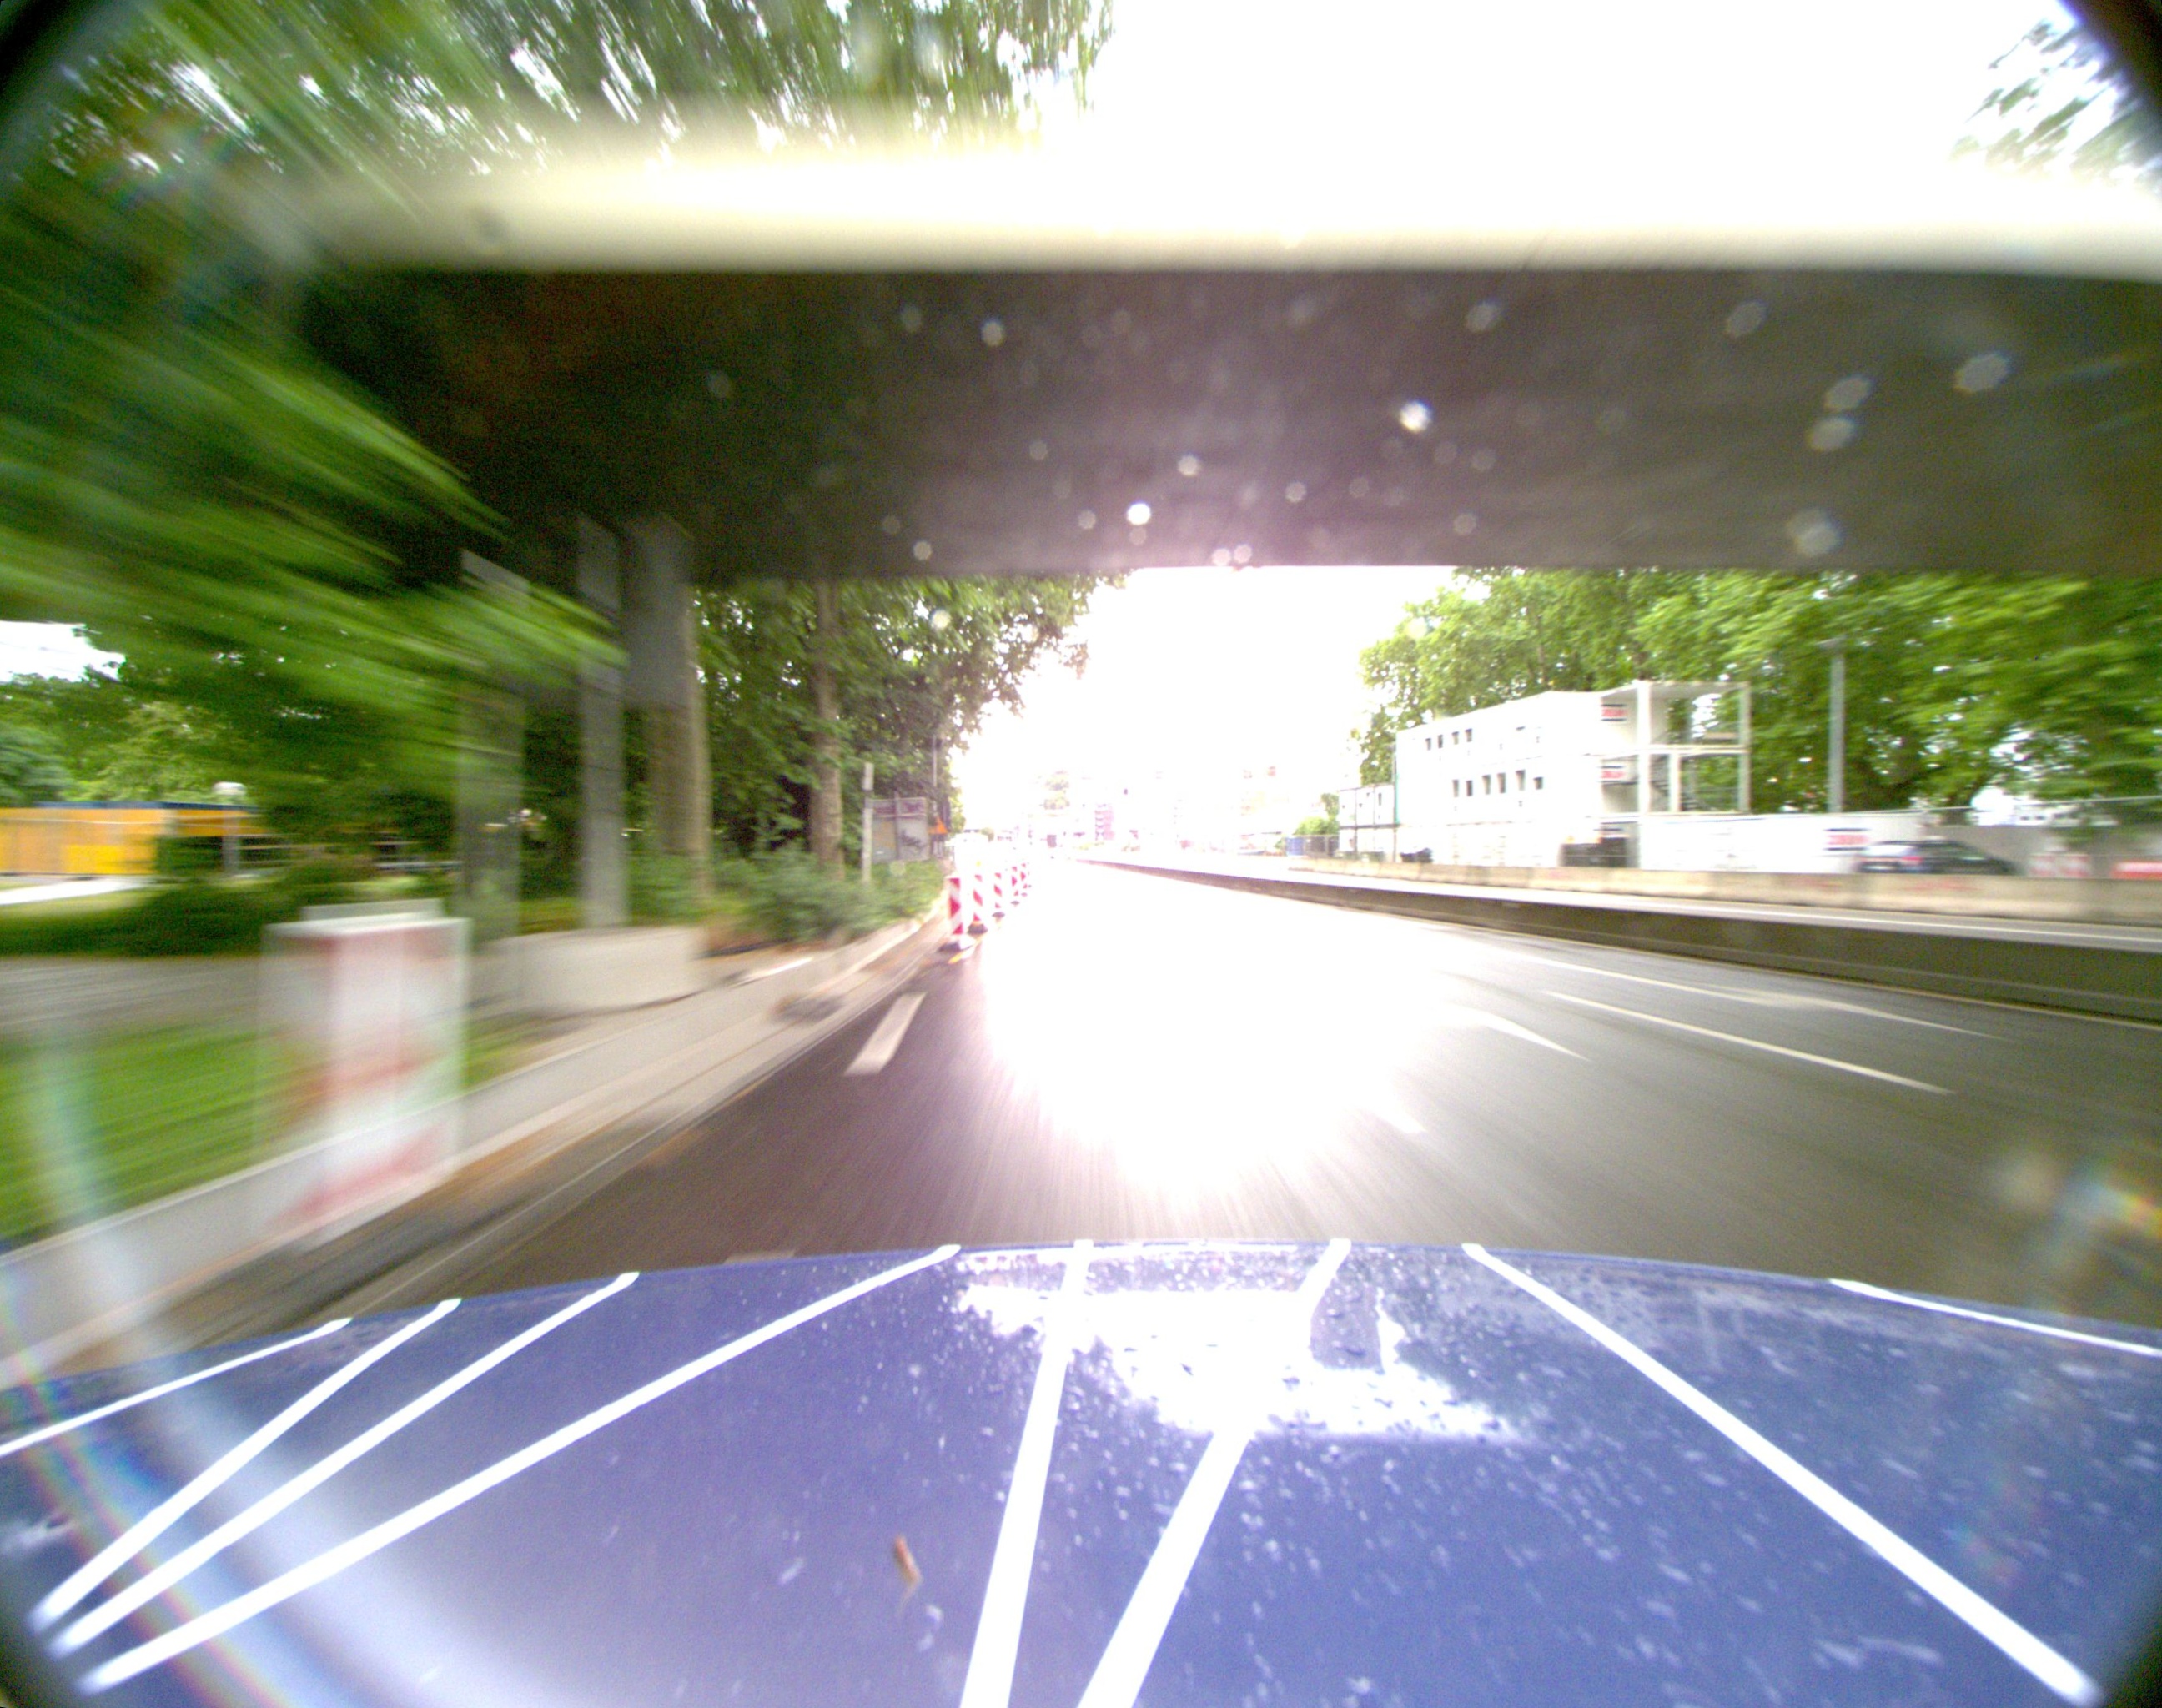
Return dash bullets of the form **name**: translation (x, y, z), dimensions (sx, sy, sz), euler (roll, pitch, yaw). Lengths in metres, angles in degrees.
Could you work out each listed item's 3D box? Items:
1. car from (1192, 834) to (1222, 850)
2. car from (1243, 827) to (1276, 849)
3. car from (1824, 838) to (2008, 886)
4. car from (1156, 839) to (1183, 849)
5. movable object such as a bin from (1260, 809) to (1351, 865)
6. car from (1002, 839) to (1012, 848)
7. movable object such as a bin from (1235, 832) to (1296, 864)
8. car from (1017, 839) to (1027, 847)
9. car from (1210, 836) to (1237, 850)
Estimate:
- **car**: translation (17.373, -1.716, 104.862), dimensions (2.001, 2.089, 5.574), euler (1, 1, -13)
- **car**: translation (25.520, -2.253, 109.007), dimensions (2.281, 3.049, 6.161), euler (0, 1, -11)
- **car**: translation (26.287, 0.213, 23.998), dimensions (4.000, 1.435, 1.998), euler (0, 2, -8)
- **car**: translation (16.927, -1.906, 145.788), dimensions (5.011, 2.002, 2.004), euler (1, 1, 45)
- **movable object such as a bin**: translation (20.382, -1.559, 69.713), dimensions (4.766, 4.776, 8.350), euler (0, 2, -9)
- **car**: translation (-16.556, -2.322, 169.064), dimensions (2.000, 1.804, 4.288), euler (0, 1, -8)
- **movable object such as a bin**: translation (19.032, -0.655, 78.657), dimensions (3.945, 3.111, 6.381), euler (0, 1, -9)
- **car**: translation (-13.204, -2.502, 168.972), dimensions (1.833, 1.643, 4.569), euler (0, 1, -9)
- **car**: translation (18.556, -1.404, 99.061), dimensions (1.851, 1.751, 4.792), euler (0, 1, -10)
